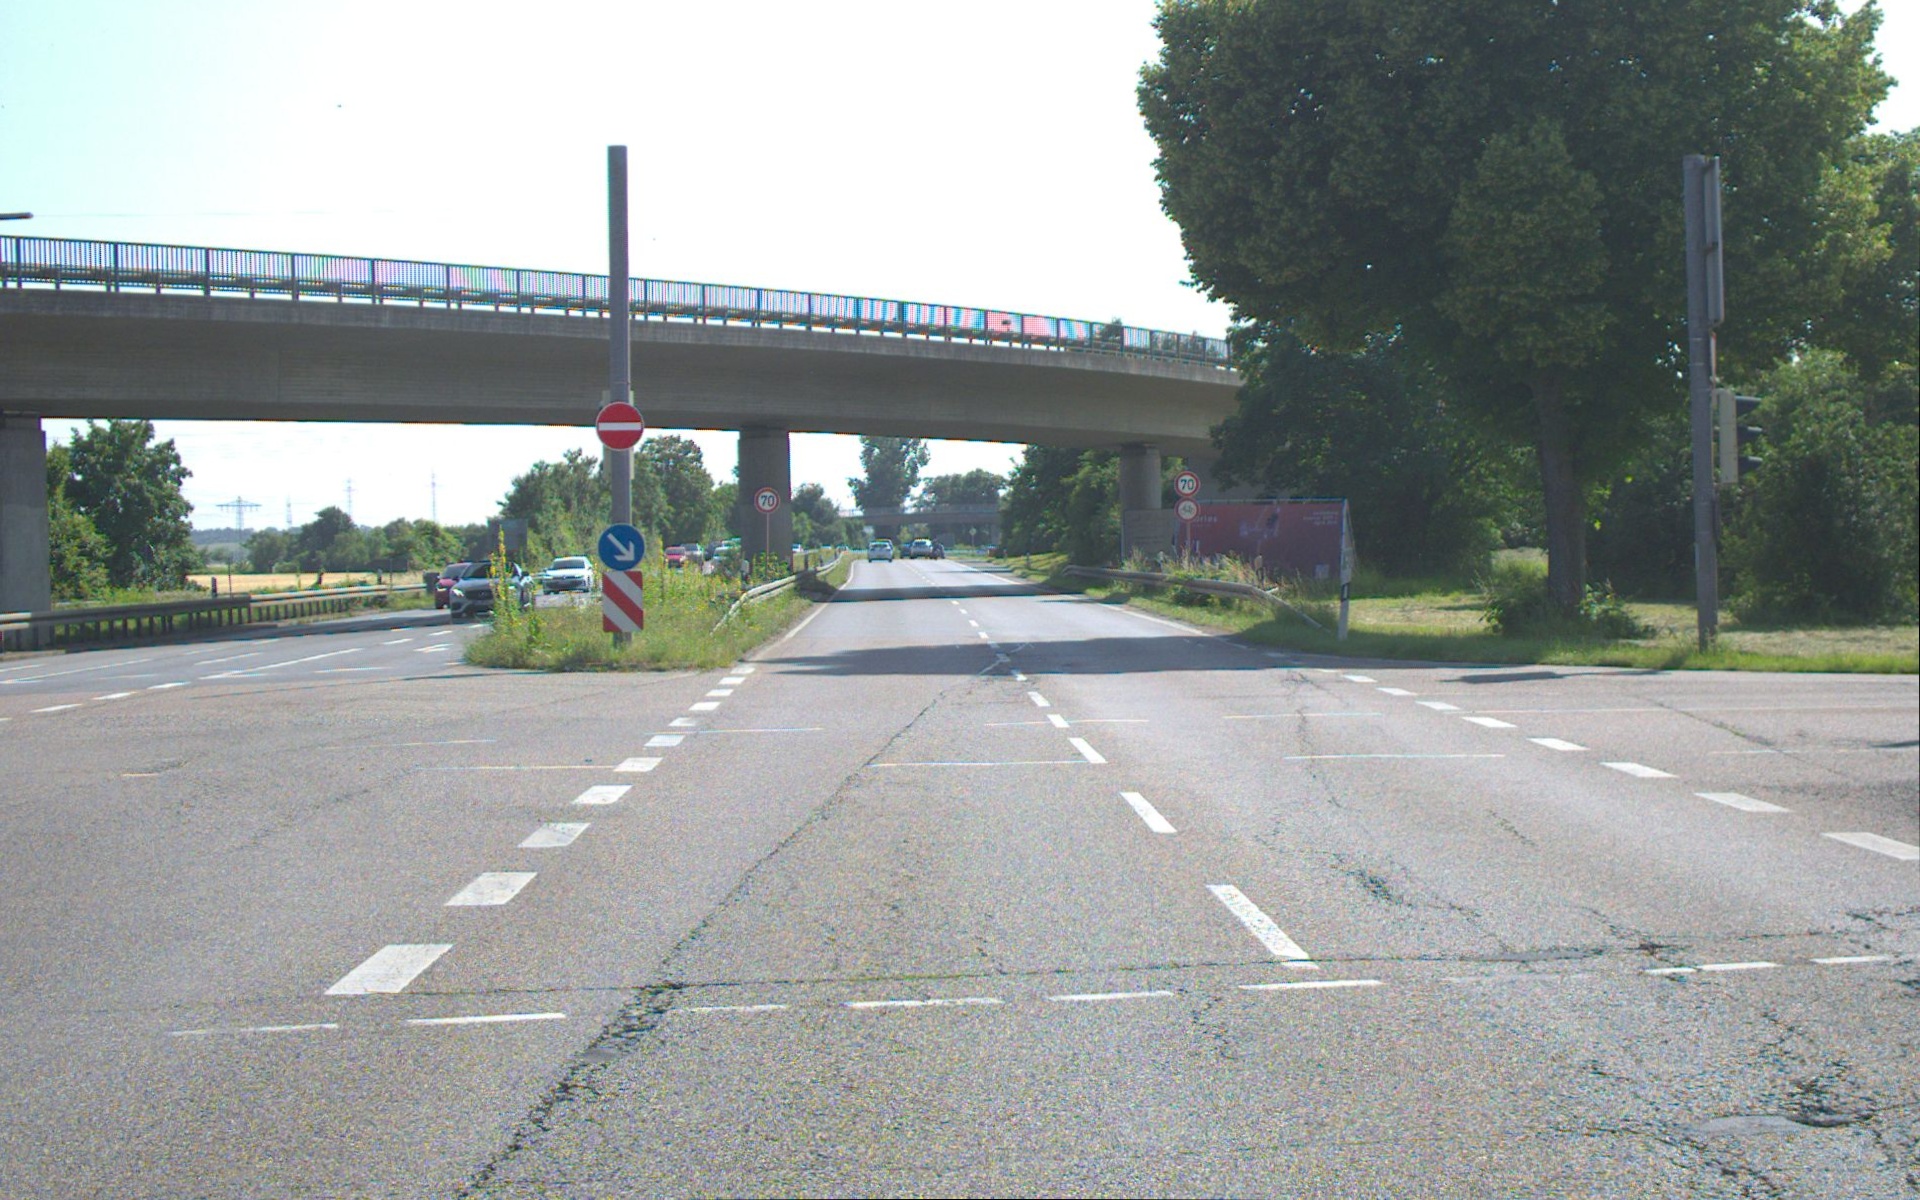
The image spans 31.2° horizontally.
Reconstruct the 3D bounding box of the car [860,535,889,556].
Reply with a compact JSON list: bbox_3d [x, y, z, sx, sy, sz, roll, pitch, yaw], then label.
[{"bbox_3d":[-6.233,-3.977,250.763,1.851,1.456,4.000,-3,1,1],"label":"car"}]

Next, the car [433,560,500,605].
[{"bbox_3d":[-16.162,-0.589,112.736,1.640,1.380,4.241,-2,1,-1],"label":"car"}]

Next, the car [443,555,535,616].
[{"bbox_3d":[-12.360,-0.408,90.489,1.856,1.443,4.241,-3,1,-1],"label":"car"}]

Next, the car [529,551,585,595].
[{"bbox_3d":[-15.912,-1.081,135.974,1.790,1.622,4.000,-2,1,-2],"label":"car"}]

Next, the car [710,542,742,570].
[{"bbox_3d":[-13.171,-2.479,193.429,1.557,1.535,4.000,-2,1,-1],"label":"car"}]
